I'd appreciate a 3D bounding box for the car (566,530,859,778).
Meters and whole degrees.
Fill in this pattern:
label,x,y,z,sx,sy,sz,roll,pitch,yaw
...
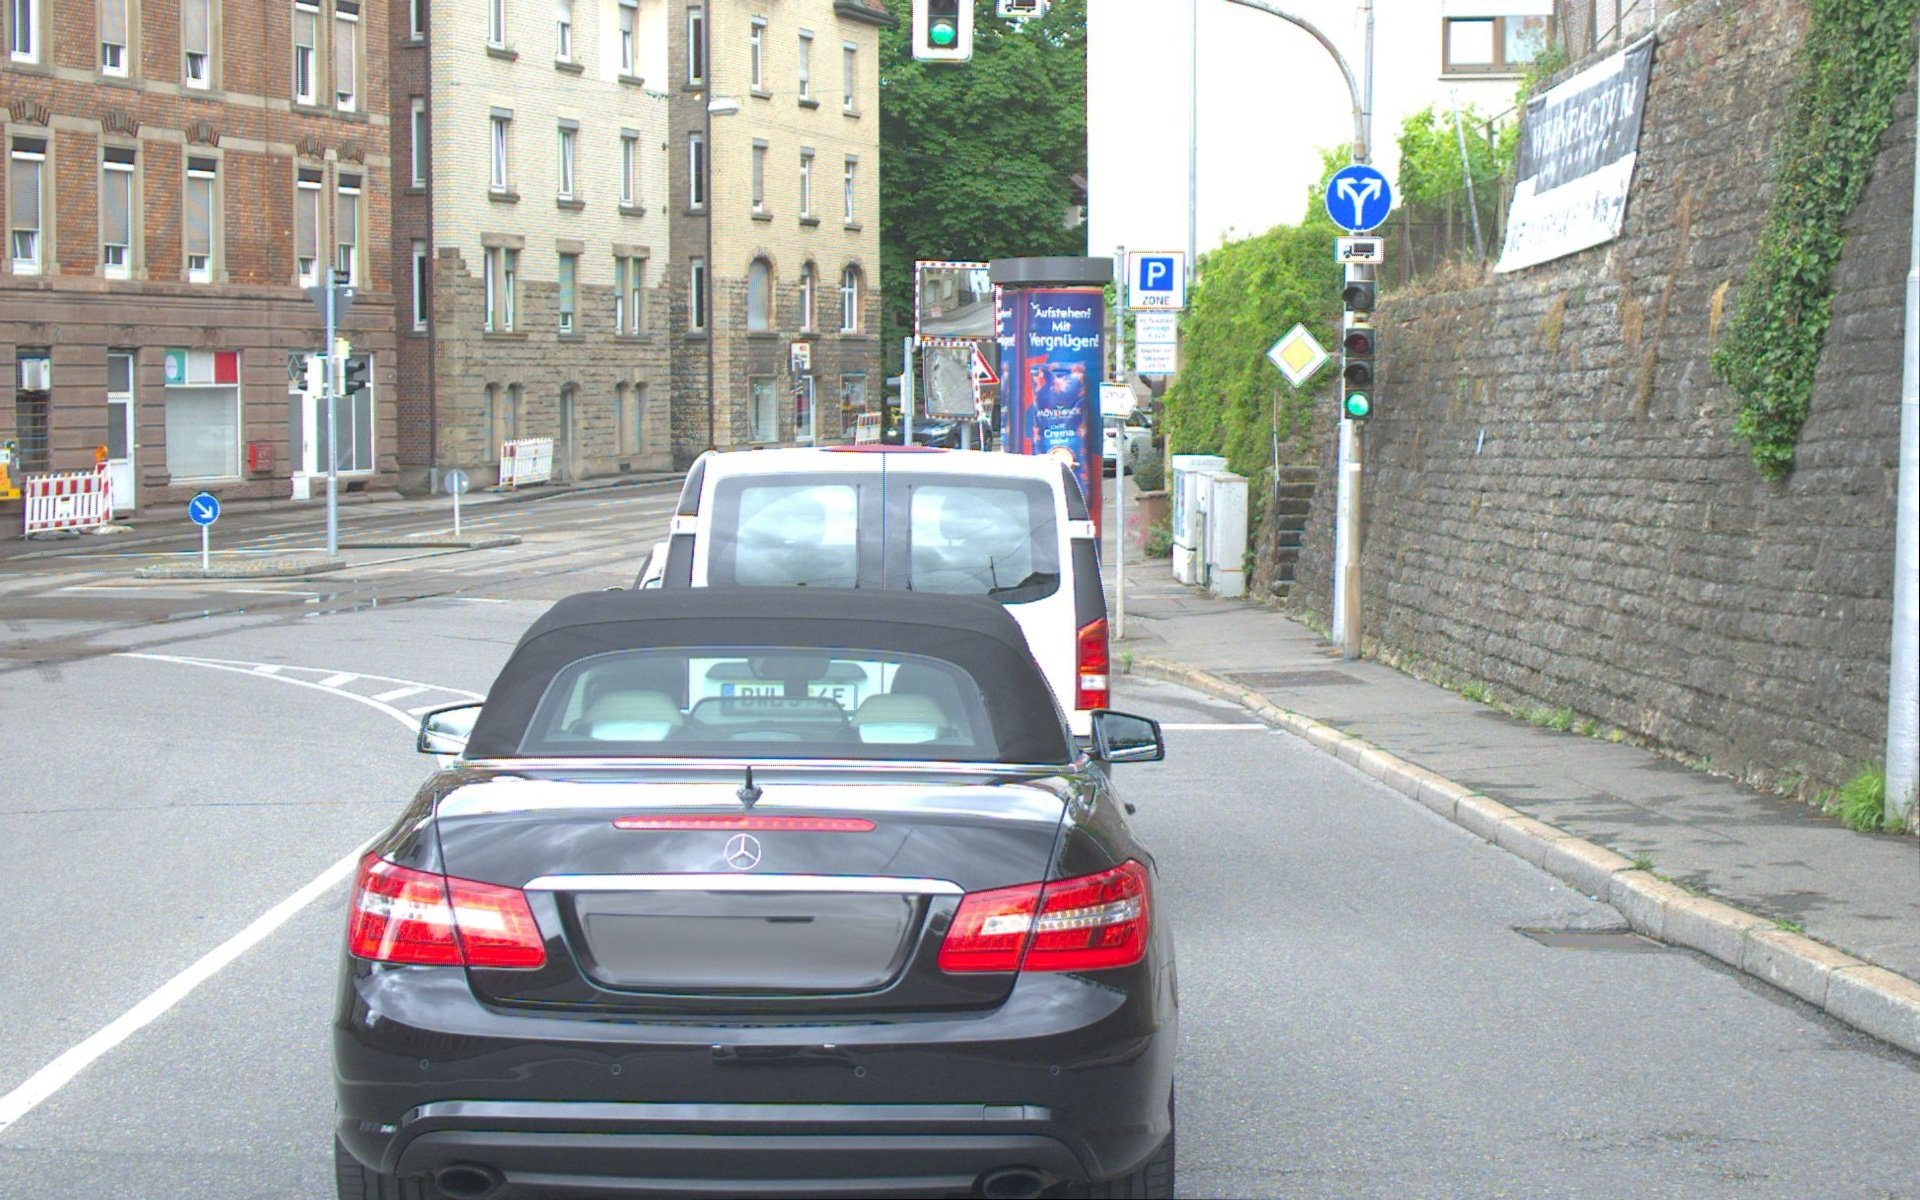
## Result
label,x,y,z,sx,sy,sz,roll,pitch,yaw
car,-1.555,0.287,22.793,1.681,1.461,3.919,1,1,-1

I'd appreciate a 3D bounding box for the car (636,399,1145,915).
label,x,y,z,sx,sy,sz,roll,pitch,yaw
car,-0.291,0.162,15.352,1.891,1.922,4.646,1,1,-1

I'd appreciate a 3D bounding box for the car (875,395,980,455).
label,x,y,z,sx,sy,sz,roll,pitch,yaw
car,-0.860,-4.804,94.174,1.994,1.509,4.284,0,4,12

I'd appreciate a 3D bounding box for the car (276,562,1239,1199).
label,x,y,z,sx,sy,sz,roll,pitch,yaw
car,-0.404,0.652,8.561,1.761,1.404,4.399,1,1,-1

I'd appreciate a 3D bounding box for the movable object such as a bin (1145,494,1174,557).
label,x,y,z,sx,sy,sz,roll,pitch,yaw
movable object such as a bin,2.885,-1.077,49.773,0.343,0.908,0.495,0,1,-6
